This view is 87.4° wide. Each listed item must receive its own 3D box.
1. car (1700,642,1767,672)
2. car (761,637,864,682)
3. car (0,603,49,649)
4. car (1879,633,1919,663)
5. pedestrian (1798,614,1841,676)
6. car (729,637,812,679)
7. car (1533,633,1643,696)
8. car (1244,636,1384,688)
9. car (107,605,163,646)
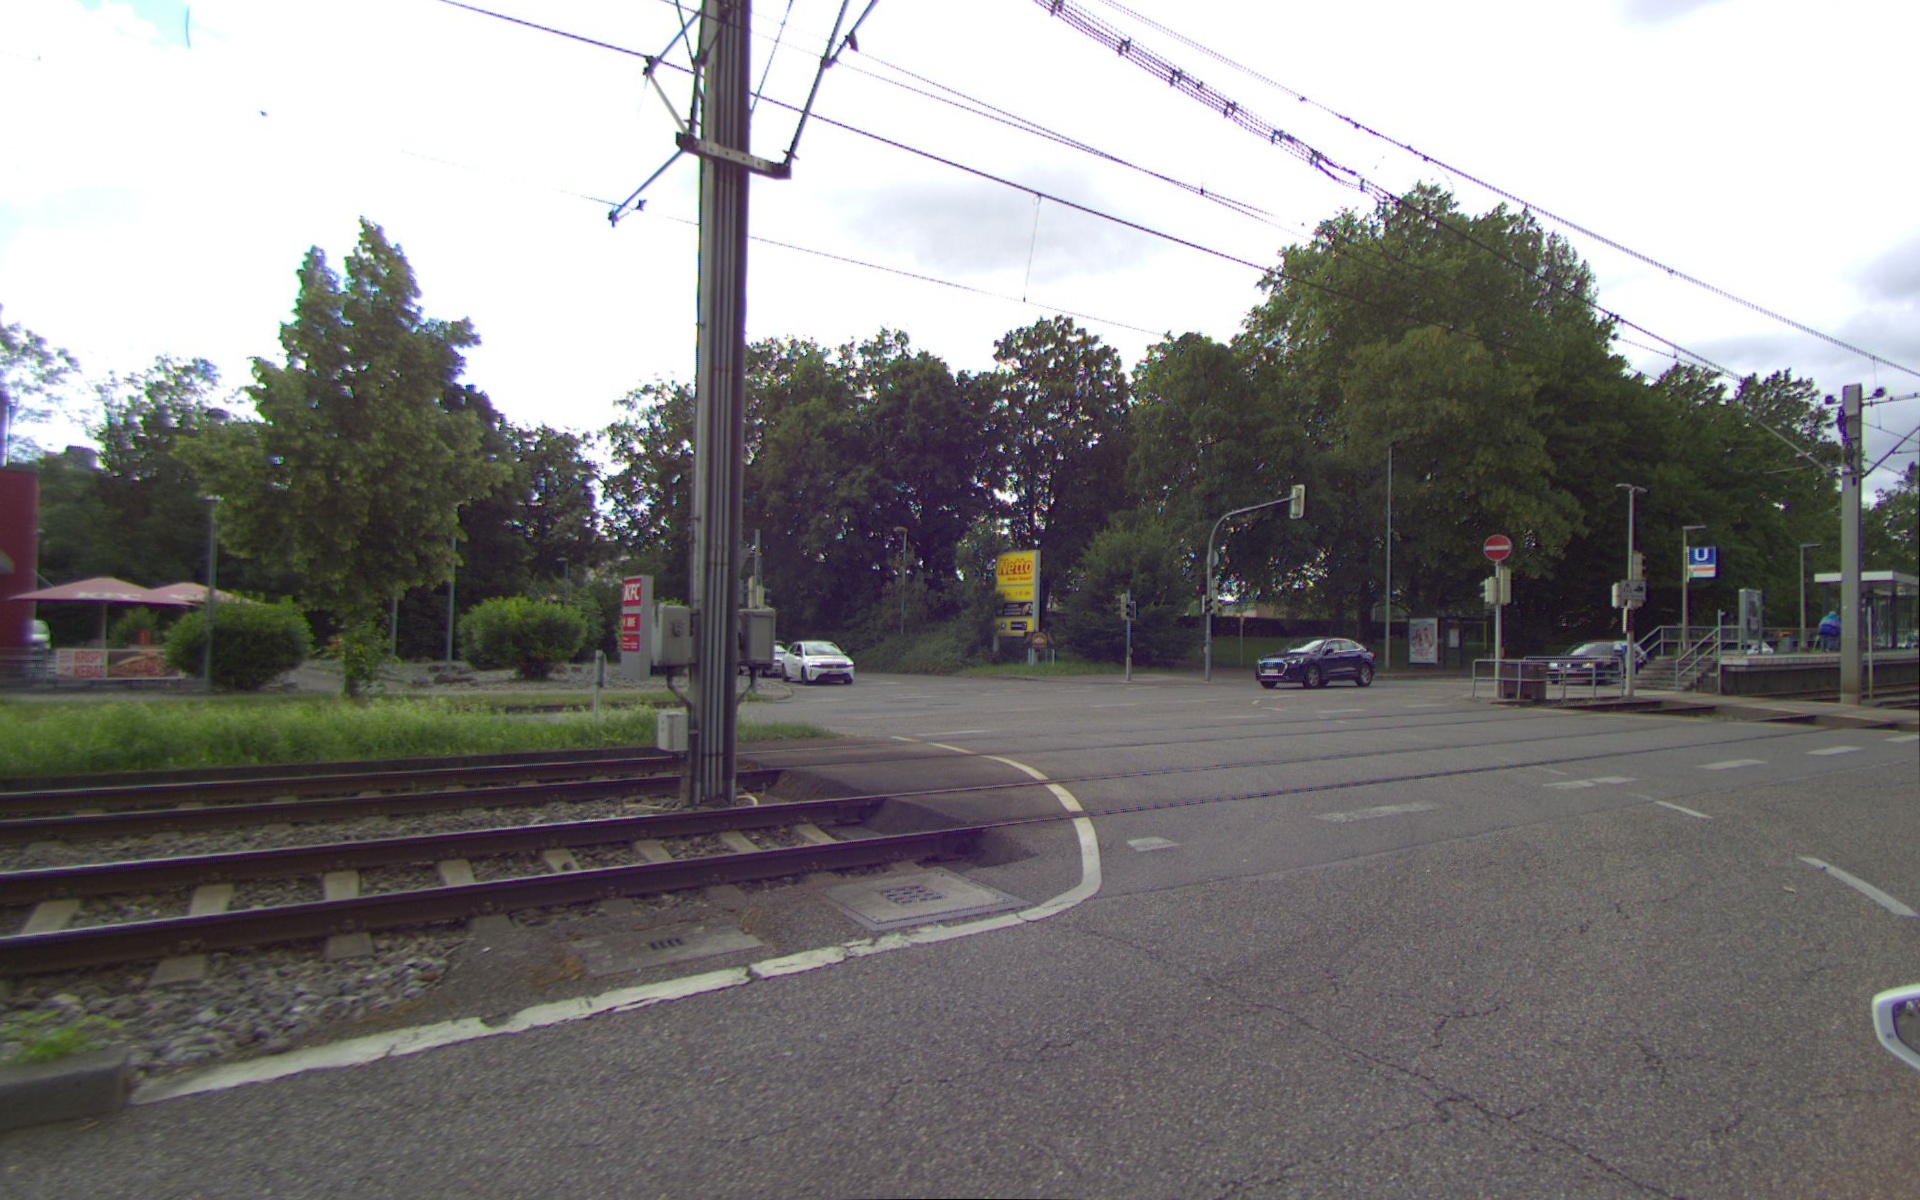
[{"bbox_3d":[40.699,3.014,52.836,3.961,1.464,1.675,3,-5,-36],"label":"car"},{"bbox_3d":[-5.139,2.032,34.716,1.831,1.426,3.849,3,-3,-38],"label":"car"},{"bbox_3d":[-43.577,1.205,46.519,1.986,2.040,3.950,3,-3,-42],"label":"car"},{"bbox_3d":[61.147,3.124,64.922,4.356,1.774,1.699,4,-4,-35],"label":"car"},{"bbox_3d":[31.488,1.649,36.806,0.966,2.214,0.964,2,-2,-33],"label":"pedestrian"},{"bbox_3d":[-7.610,2.292,40.074,1.828,1.572,3.964,3,-3,-33],"label":"car"},{"bbox_3d":[20.868,2.132,33.343,3.961,1.885,1.685,3,-1,-35],"label":"car"},{"bbox_3d":[11.115,1.913,31.481,4.463,1.501,1.980,2,-3,-36],"label":"car"},{"bbox_3d":[-42.695,1.336,51.933,1.986,2.040,3.950,3,-3,-42],"label":"car"}]
